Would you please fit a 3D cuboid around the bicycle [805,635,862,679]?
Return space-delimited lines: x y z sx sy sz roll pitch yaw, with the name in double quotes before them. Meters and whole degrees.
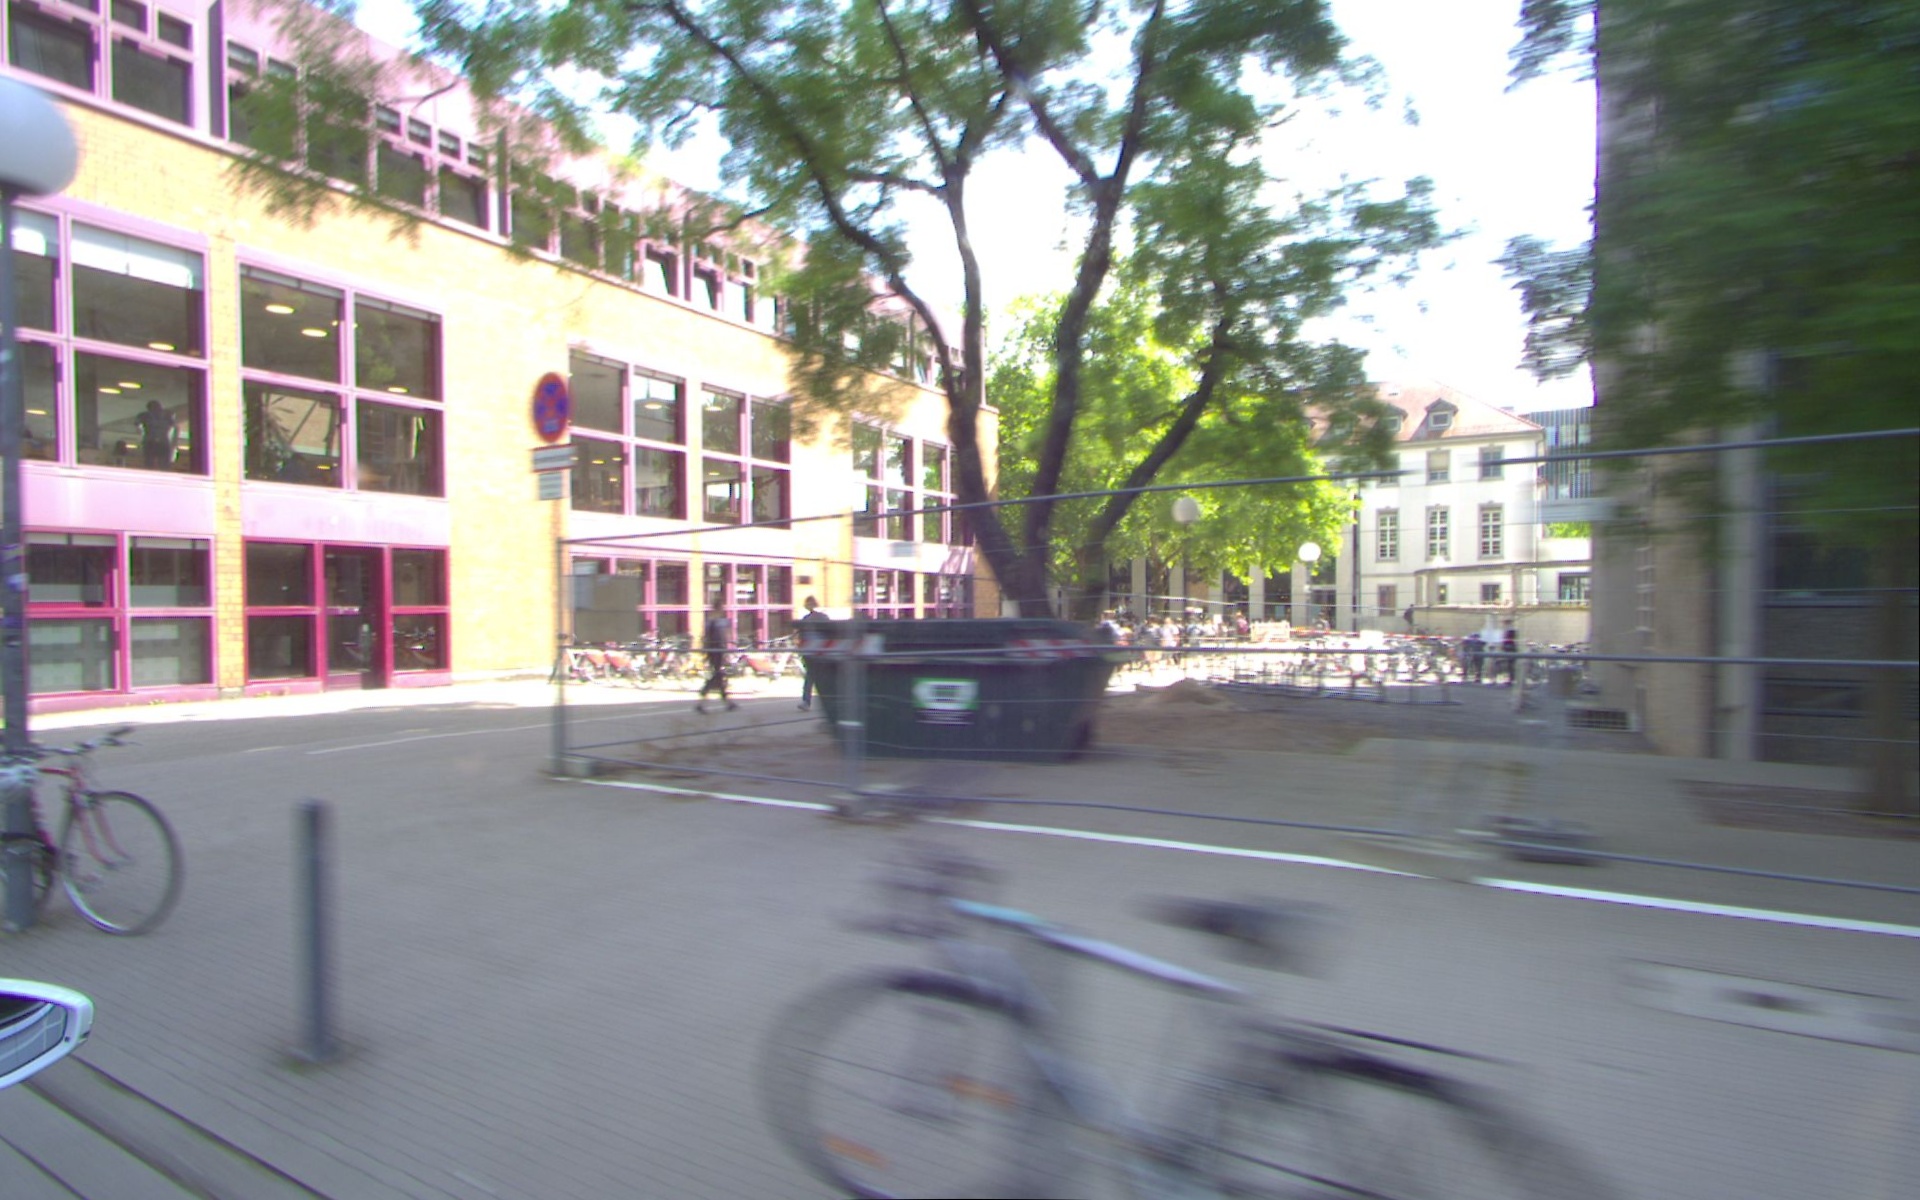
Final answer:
"bicycle" -3.500 1.565 27.894 0.467 1.184 1.995 0 -2 29

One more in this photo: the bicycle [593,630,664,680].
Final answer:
"bicycle" -7.799 1.271 23.638 0.466 1.124 1.806 0 -2 25

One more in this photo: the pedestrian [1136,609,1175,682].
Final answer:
"pedestrian" 4.809 1.114 24.592 0.674 1.750 0.901 -3 -1 26

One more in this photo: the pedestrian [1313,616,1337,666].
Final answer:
"pedestrian" 13.127 1.468 36.012 0.674 1.750 0.901 -3 -1 26

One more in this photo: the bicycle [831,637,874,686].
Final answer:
"bicycle" -2.687 1.529 25.174 0.465 1.184 1.811 0 -2 15

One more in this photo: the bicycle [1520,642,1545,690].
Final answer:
"bicycle" 14.708 1.678 25.721 0.537 1.184 1.994 0 -2 30

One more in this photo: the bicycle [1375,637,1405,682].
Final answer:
"bicycle" 11.831 1.609 27.509 0.537 1.184 1.994 0 -2 30

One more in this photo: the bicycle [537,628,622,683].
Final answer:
"bicycle" -8.151 1.173 21.527 0.516 1.124 1.808 0 -2 29

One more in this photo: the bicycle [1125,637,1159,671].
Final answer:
"bicycle" 6.565 1.932 36.069 0.537 1.184 1.994 0 -2 30

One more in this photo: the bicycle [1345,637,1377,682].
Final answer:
"bicycle" 11.132 1.634 27.771 0.537 1.184 1.994 0 -2 30

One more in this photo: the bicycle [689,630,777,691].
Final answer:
"bicycle" -4.382 1.158 19.469 0.516 1.124 1.805 0 -2 35

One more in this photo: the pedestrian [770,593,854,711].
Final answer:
"pedestrian" -2.187 0.761 14.835 0.694 1.672 1.040 -1 -1 38

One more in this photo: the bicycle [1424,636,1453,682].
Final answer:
"bicycle" 12.836 1.568 26.850 0.537 1.184 1.994 0 -2 30

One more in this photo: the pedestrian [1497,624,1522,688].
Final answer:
"pedestrian" 14.347 1.446 26.143 0.555 1.634 0.530 0 -1 32

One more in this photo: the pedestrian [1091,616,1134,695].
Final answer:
"pedestrian" 3.479 1.260 22.806 0.674 1.750 0.901 -3 -1 26

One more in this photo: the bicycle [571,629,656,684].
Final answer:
"bicycle" -7.337 1.176 21.257 0.516 1.124 1.807 0 -2 30

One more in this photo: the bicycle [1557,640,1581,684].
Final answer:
"bicycle" 17.157 1.720 28.234 0.537 1.184 2.059 0 -2 30

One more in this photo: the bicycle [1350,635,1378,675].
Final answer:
"bicycle" 12.460 1.690 30.854 0.537 1.184 1.994 0 -2 30

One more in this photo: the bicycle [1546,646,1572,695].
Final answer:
"bicycle" 15.182 1.763 25.402 0.537 1.184 1.994 0 -2 30

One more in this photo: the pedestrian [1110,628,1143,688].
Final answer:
"pedestrian" 5.033 1.755 30.269 0.674 1.750 0.901 -3 -1 26

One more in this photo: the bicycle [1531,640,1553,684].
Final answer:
"bicycle" 16.627 1.747 28.609 0.537 1.184 2.059 0 -2 30

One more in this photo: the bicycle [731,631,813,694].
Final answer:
"bicycle" -3.504 1.148 18.781 0.468 1.124 1.690 0 -2 34

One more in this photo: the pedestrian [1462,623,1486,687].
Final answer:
"pedestrian" 13.498 1.431 26.294 0.525 1.651 0.560 0 -1 32

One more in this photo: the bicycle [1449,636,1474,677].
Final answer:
"bicycle" 14.910 1.657 29.740 0.537 1.184 1.994 0 -2 30

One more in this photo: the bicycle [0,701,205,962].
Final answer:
"bicycle" -4.338 1.037 4.835 1.714 0.975 0.449 0 3 31

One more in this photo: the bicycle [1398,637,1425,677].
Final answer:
"bicycle" 13.631 1.702 30.228 0.537 1.184 1.994 0 -2 30

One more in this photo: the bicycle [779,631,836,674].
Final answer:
"bicycle" -4.311 1.483 28.402 0.467 1.184 1.995 0 -2 29

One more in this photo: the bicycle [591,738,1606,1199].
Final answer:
"bicycle" 0.171 0.904 1.887 1.723 1.107 0.707 0 0 31

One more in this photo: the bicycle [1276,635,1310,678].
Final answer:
"bicycle" 9.545 1.609 28.648 0.537 1.184 1.994 0 -2 30

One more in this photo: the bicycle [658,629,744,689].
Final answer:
"bicycle" -5.045 1.139 19.631 0.516 1.124 1.807 0 -2 30

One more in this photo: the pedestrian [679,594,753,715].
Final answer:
"pedestrian" -3.490 0.772 14.363 0.581 1.672 0.849 -1 -1 38

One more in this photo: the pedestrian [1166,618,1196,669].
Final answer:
"pedestrian" 8.171 1.616 37.083 0.672 1.846 0.903 -2 -1 -16

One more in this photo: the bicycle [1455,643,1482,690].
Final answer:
"bicycle" 13.382 1.730 26.334 0.537 1.184 1.994 0 -2 30

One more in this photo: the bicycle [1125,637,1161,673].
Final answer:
"bicycle" 6.136 1.826 33.542 0.537 1.184 1.994 0 -2 30

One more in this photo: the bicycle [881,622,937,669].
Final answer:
"bicycle" -1.342 1.202 26.645 0.467 1.184 1.994 0 -2 30

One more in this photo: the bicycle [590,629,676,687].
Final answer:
"bicycle" -6.618 1.160 20.371 0.515 1.124 1.808 0 -2 28

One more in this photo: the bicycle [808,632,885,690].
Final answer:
"bicycle" -2.261 1.209 20.162 0.468 1.124 1.802 0 -2 34

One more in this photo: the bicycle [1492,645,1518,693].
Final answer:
"bicycle" 14.182 1.770 26.041 0.537 1.184 1.994 0 -2 30

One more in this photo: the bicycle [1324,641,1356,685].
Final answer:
"bicycle" 10.670 1.732 28.062 0.537 1.184 1.994 0 -2 30

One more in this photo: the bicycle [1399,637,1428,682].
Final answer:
"bicycle" 12.305 1.597 27.149 0.537 1.184 1.994 0 -2 30

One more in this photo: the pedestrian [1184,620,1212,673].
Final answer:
"pedestrian" 8.235 1.602 34.640 0.674 1.750 0.901 -3 -1 27

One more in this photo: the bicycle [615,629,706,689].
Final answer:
"bicycle" -5.911 1.145 19.836 0.516 1.124 1.805 0 -2 34

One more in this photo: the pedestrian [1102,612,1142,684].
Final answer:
"pedestrian" 4.031 1.185 24.842 0.674 1.750 0.901 -3 -1 26

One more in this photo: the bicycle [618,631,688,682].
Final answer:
"bicycle" -7.130 1.295 23.345 0.466 1.124 1.806 0 -2 25

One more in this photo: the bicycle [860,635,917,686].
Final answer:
"bicycle" -1.712 1.460 24.329 0.467 1.184 1.805 0 -2 29

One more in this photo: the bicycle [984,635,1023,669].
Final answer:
"bicycle" 1.584 1.882 36.378 0.537 1.184 1.994 0 -2 30

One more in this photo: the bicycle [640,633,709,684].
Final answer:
"bicycle" -6.576 1.325 23.173 0.466 1.124 1.806 0 -2 25

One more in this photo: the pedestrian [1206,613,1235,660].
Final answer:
"pedestrian" 10.600 1.484 40.808 0.673 1.846 0.902 -2 -1 -24

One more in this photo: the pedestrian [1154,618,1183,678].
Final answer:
"pedestrian" 6.232 1.417 29.921 0.673 1.750 0.903 -3 -1 20

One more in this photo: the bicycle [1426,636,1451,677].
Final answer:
"bicycle" 14.379 1.690 30.060 0.537 1.184 1.994 0 -2 30

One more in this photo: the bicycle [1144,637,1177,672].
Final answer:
"bicycle" 7.157 1.925 35.614 0.537 1.184 1.994 0 -2 30

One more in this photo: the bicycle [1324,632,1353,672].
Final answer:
"bicycle" 11.789 1.604 31.179 0.537 1.184 1.994 0 -2 30

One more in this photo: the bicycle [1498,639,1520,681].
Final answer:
"bicycle" 15.932 1.721 29.038 0.537 1.184 1.994 0 -2 30

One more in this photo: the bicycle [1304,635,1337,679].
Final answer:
"bicycle" 10.213 1.606 28.361 0.537 1.184 1.994 0 -2 30

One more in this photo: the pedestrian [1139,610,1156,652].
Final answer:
"pedestrian" 8.408 1.393 44.879 0.672 1.846 0.904 -2 -1 9

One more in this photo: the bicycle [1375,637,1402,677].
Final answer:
"bicycle" 13.104 1.720 30.587 0.537 1.184 1.994 0 -2 30
